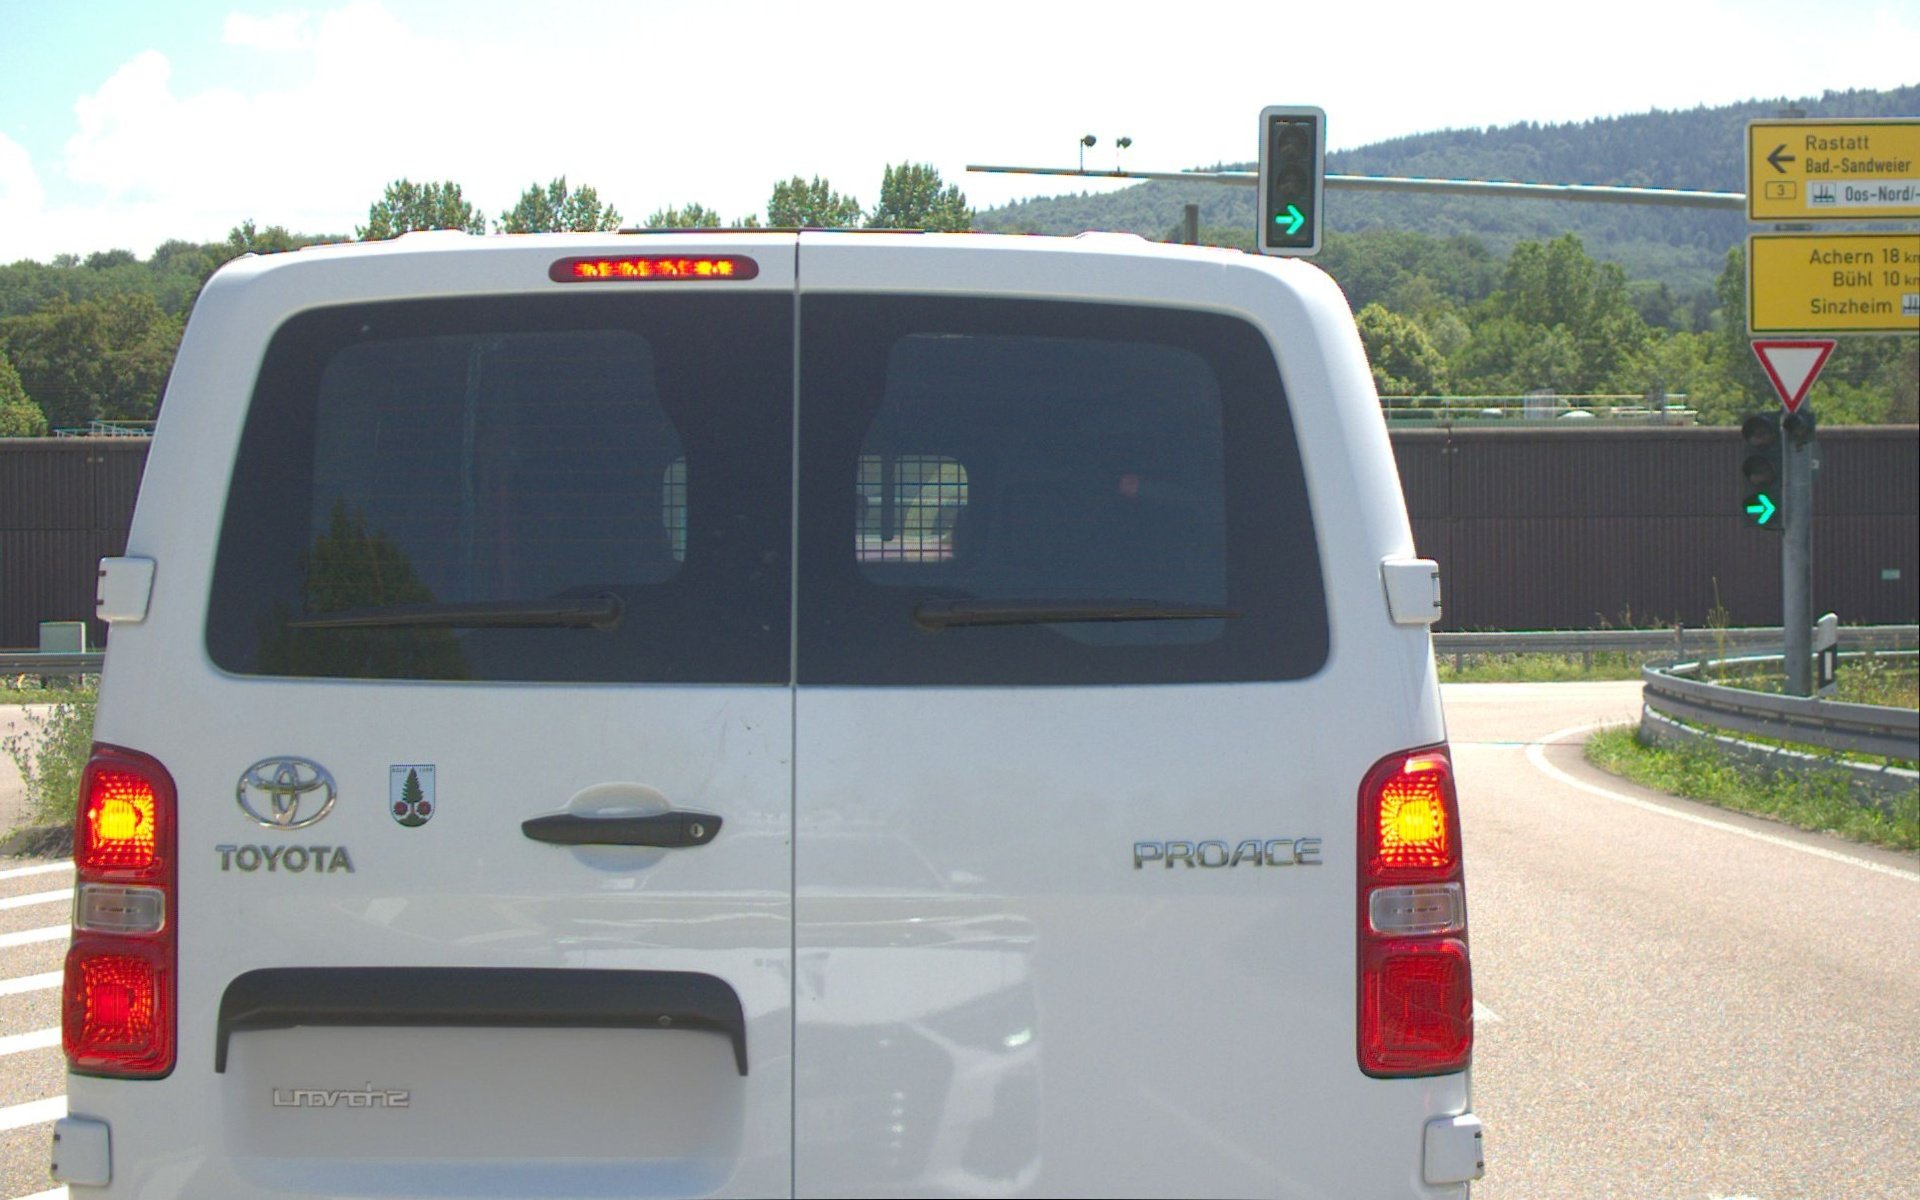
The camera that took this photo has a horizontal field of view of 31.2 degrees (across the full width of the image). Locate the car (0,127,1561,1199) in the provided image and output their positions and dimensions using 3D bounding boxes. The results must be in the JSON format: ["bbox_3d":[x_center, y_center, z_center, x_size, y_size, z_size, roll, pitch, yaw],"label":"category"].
[{"bbox_3d":[-0.245,0.447,5.946,1.814,2.011,4.000,0,1,-1],"label":"car"}]
